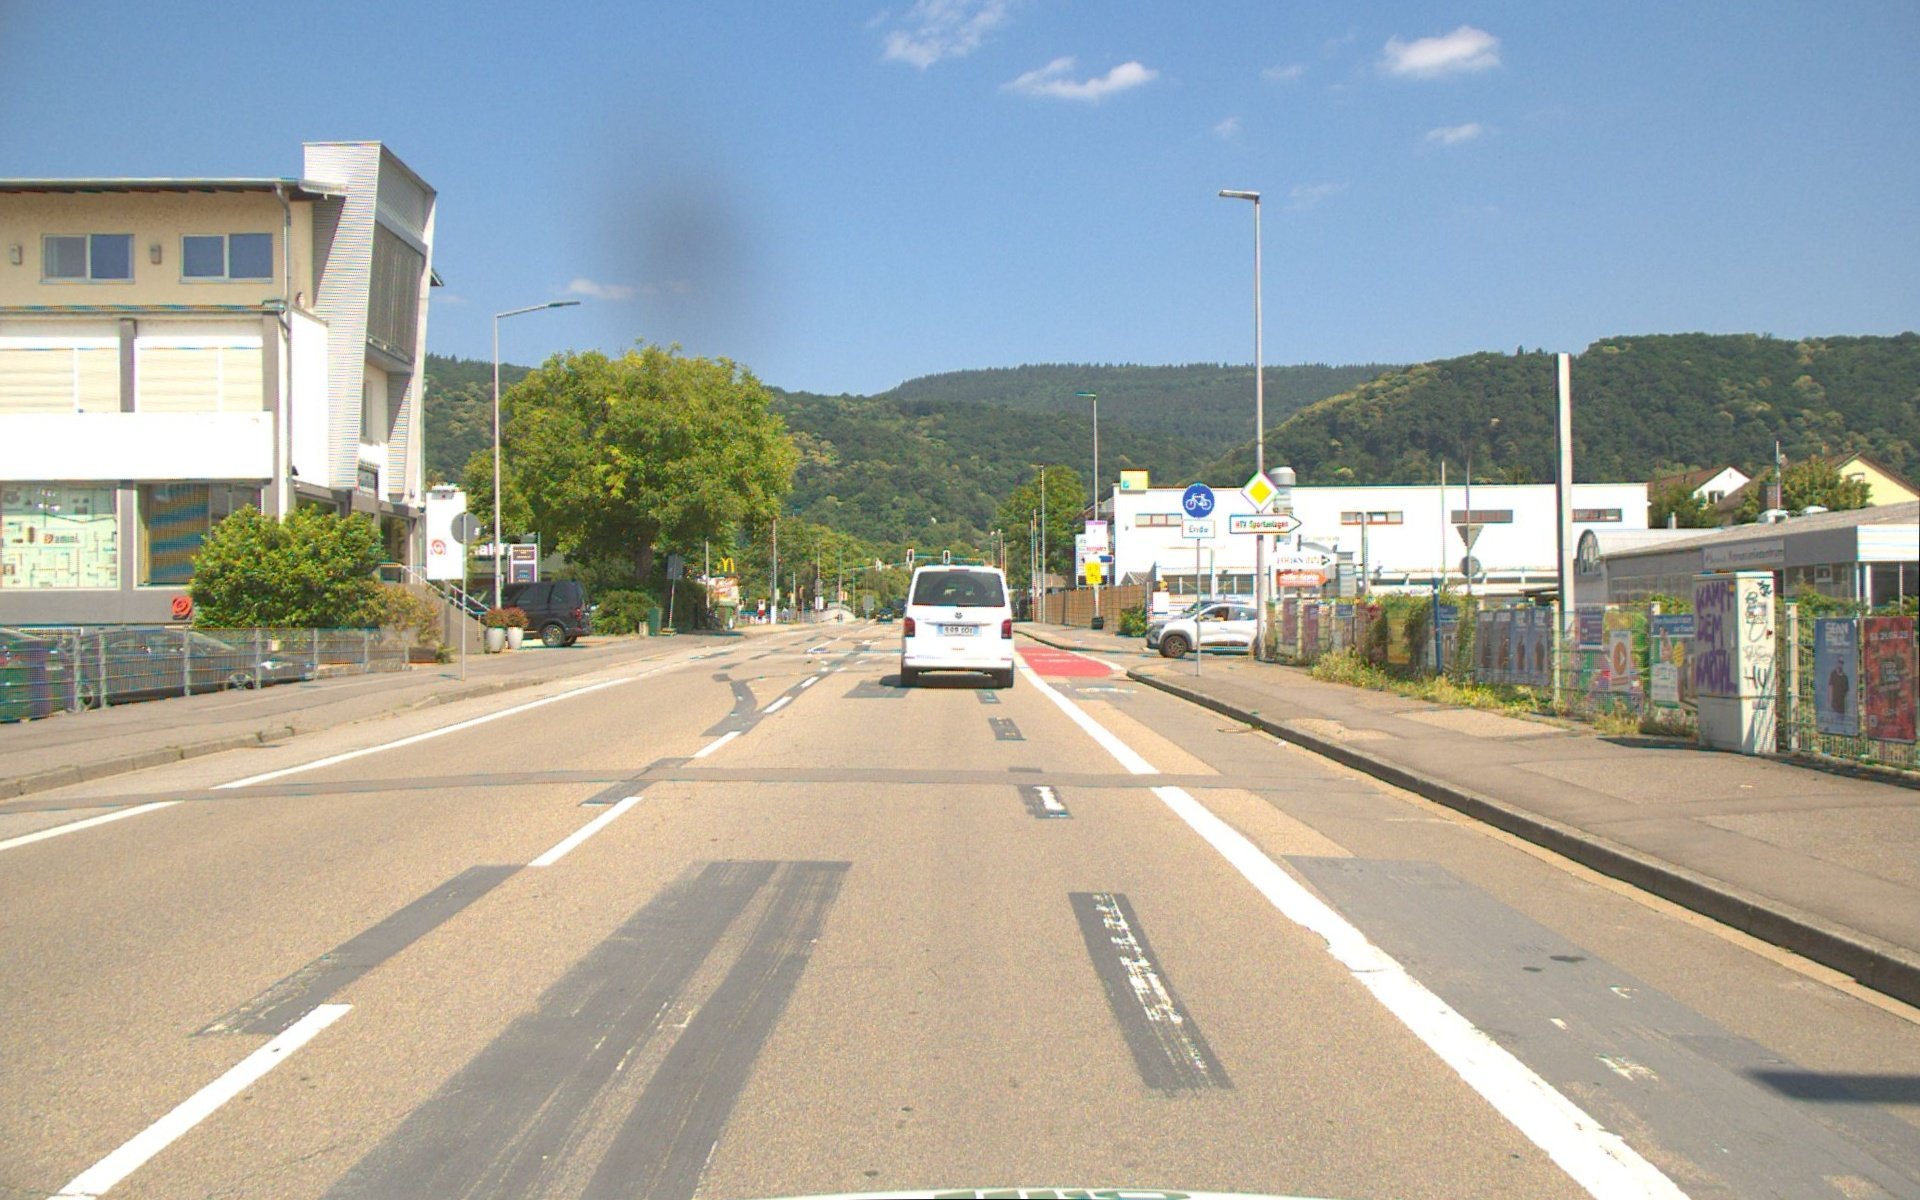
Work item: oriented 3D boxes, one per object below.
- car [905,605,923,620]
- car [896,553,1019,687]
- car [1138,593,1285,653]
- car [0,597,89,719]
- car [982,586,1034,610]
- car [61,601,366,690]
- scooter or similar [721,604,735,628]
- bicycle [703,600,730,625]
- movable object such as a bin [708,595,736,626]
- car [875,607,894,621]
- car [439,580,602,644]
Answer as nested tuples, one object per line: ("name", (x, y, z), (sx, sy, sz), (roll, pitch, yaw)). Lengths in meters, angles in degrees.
("car", (-5.003, 1.347, 179.253), (1.812, 1.616, 3.999), (-1, 0, -1))
("car", (-0.121, 0.317, 28.491), (1.896, 2.096, 4.542), (1, 0, -3))
("car", (6.520, 0.584, 43.127), (3.589, 1.510, 1.728), (0, 0, 1))
("car", (-14.401, 0.783, 22.304), (4.212, 1.586, 1.993), (-1, 0, -5))
("car", (3.753, -0.145, 129.743), (3.903, 1.806, 2.001), (-1, 0, 5))
("car", (-13.598, 0.799, 30.363), (4.644, 1.507, 2.047), (-1, 0, -3))
("scooter or similar", (-11.494, 0.797, 81.987), (0.634, 1.147, 1.620), (2, 0, -7))
("bicycle", (-11.493, 0.570, 78.249), (1.006, 1.137, 2.764), (2, 0, -4))
("movable object such as a bin", (-12.607, 0.567, 87.693), (1.421, 1.618, 1.304), (-1, 0, -10))
("car", (-7.978, 1.473, 174.668), (1.954, 1.394, 4.324), (-1, 0, -3))
("car", (-13.257, 0.367, 50.148), (4.478, 1.898, 2.090), (0, 0, -6))
